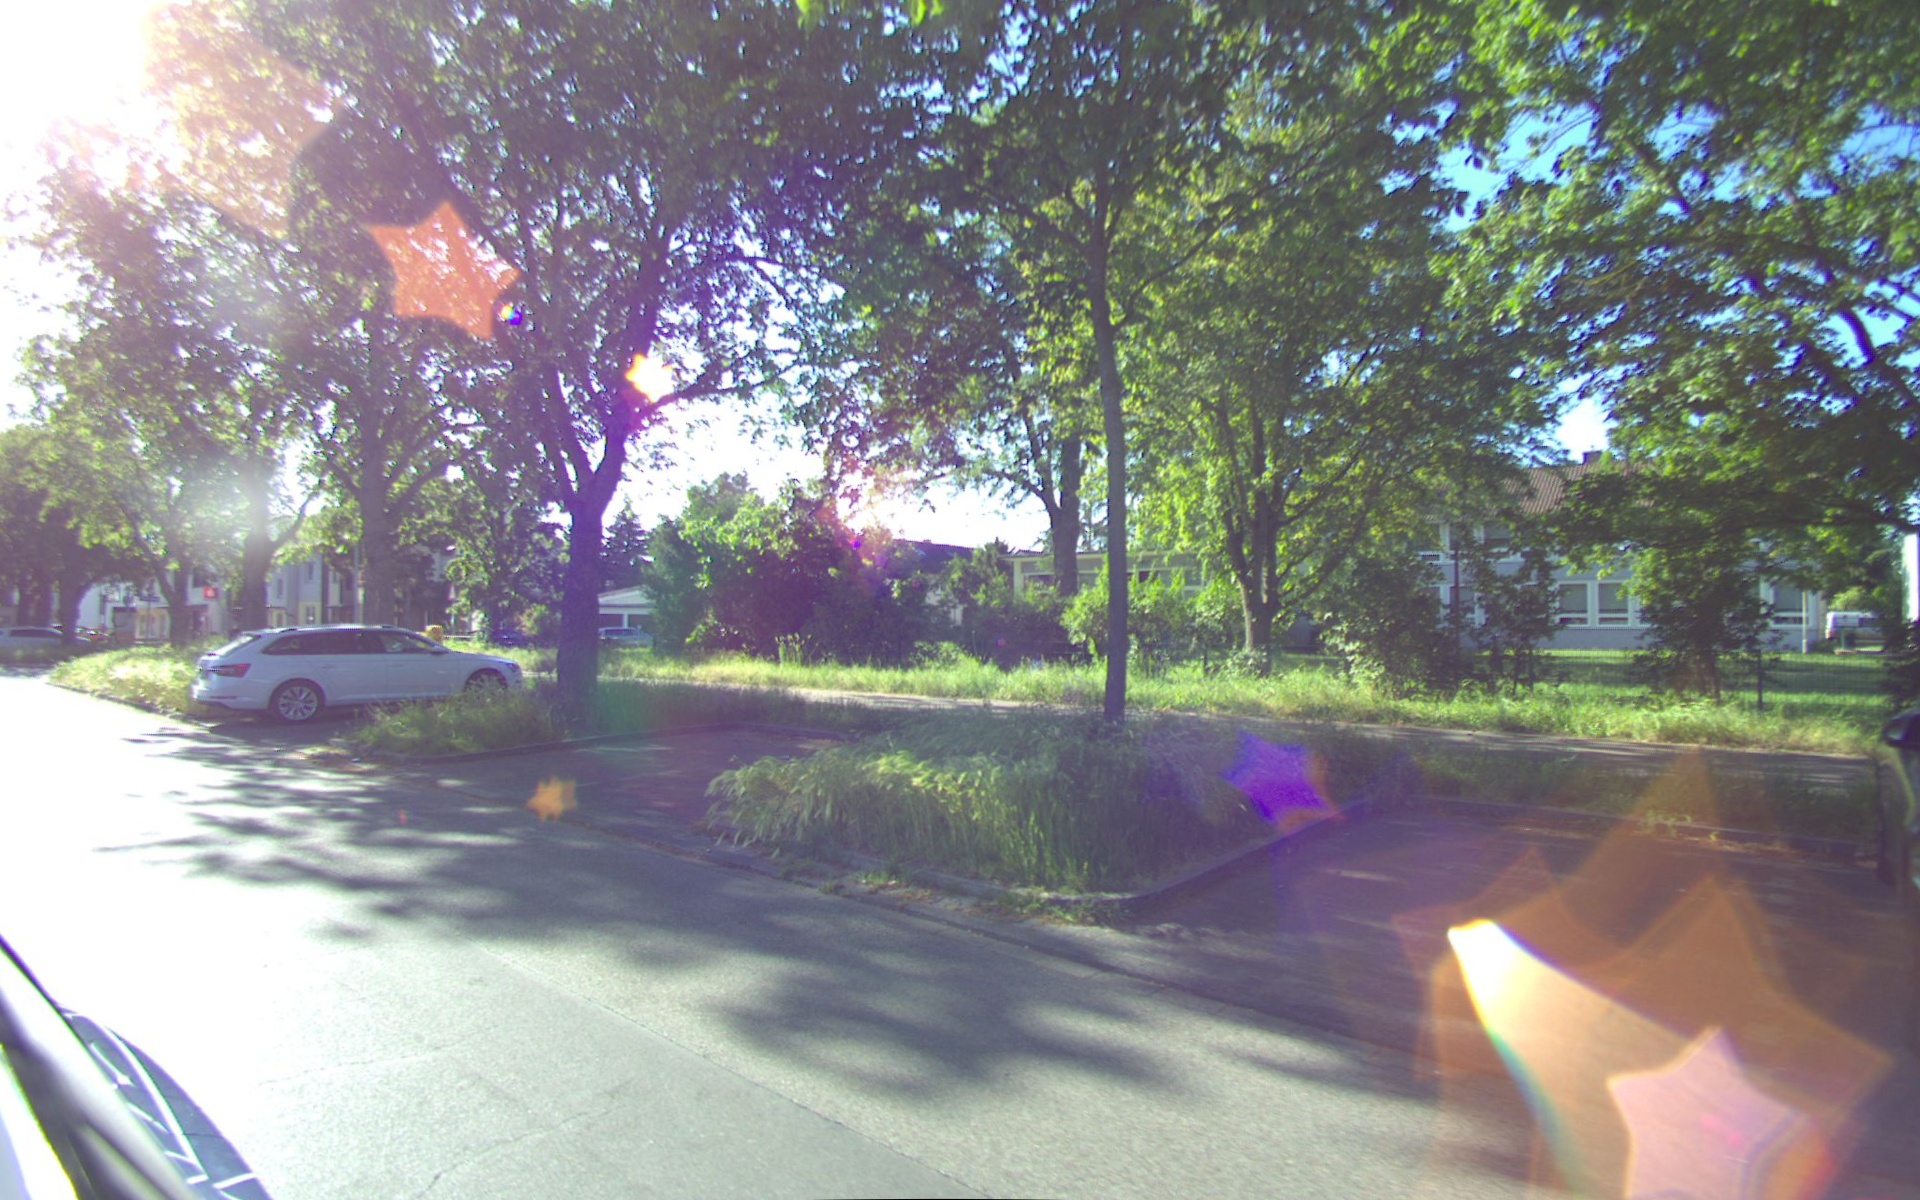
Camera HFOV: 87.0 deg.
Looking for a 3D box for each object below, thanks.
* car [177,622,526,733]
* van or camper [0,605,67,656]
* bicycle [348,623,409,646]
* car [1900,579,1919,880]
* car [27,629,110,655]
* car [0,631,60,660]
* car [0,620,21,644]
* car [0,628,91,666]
[{"bbox_3d":[-9.935,1.163,16.826,2.000,1.515,4.620,-2,-1,43],"label":"car"},{"bbox_3d":[-56.379,1.818,59.386,2.000,2.826,5.713,-1,2,43],"label":"van or camper"},{"bbox_3d":[-31.488,1.884,54.768,4.033,1.185,0.700,-2,-2,26],"label":"bicycle"},{"bbox_3d":[4.902,0.670,3.778,1.806,1.543,4.323,-1,0,40],"label":"car"},{"bbox_3d":[-60.522,2.843,68.730,1.866,1.554,3.951,-1,0,36],"label":"car"},{"bbox_3d":[-54.076,2.618,57.629,1.998,1.469,3.947,-1,2,40],"label":"car"},{"bbox_3d":[-75.713,2.581,77.700,1.997,1.740,5.014,-1,2,37],"label":"car"},{"bbox_3d":[-44.043,2.205,48.064,1.965,1.673,3.946,-2,-2,40],"label":"car"}]
